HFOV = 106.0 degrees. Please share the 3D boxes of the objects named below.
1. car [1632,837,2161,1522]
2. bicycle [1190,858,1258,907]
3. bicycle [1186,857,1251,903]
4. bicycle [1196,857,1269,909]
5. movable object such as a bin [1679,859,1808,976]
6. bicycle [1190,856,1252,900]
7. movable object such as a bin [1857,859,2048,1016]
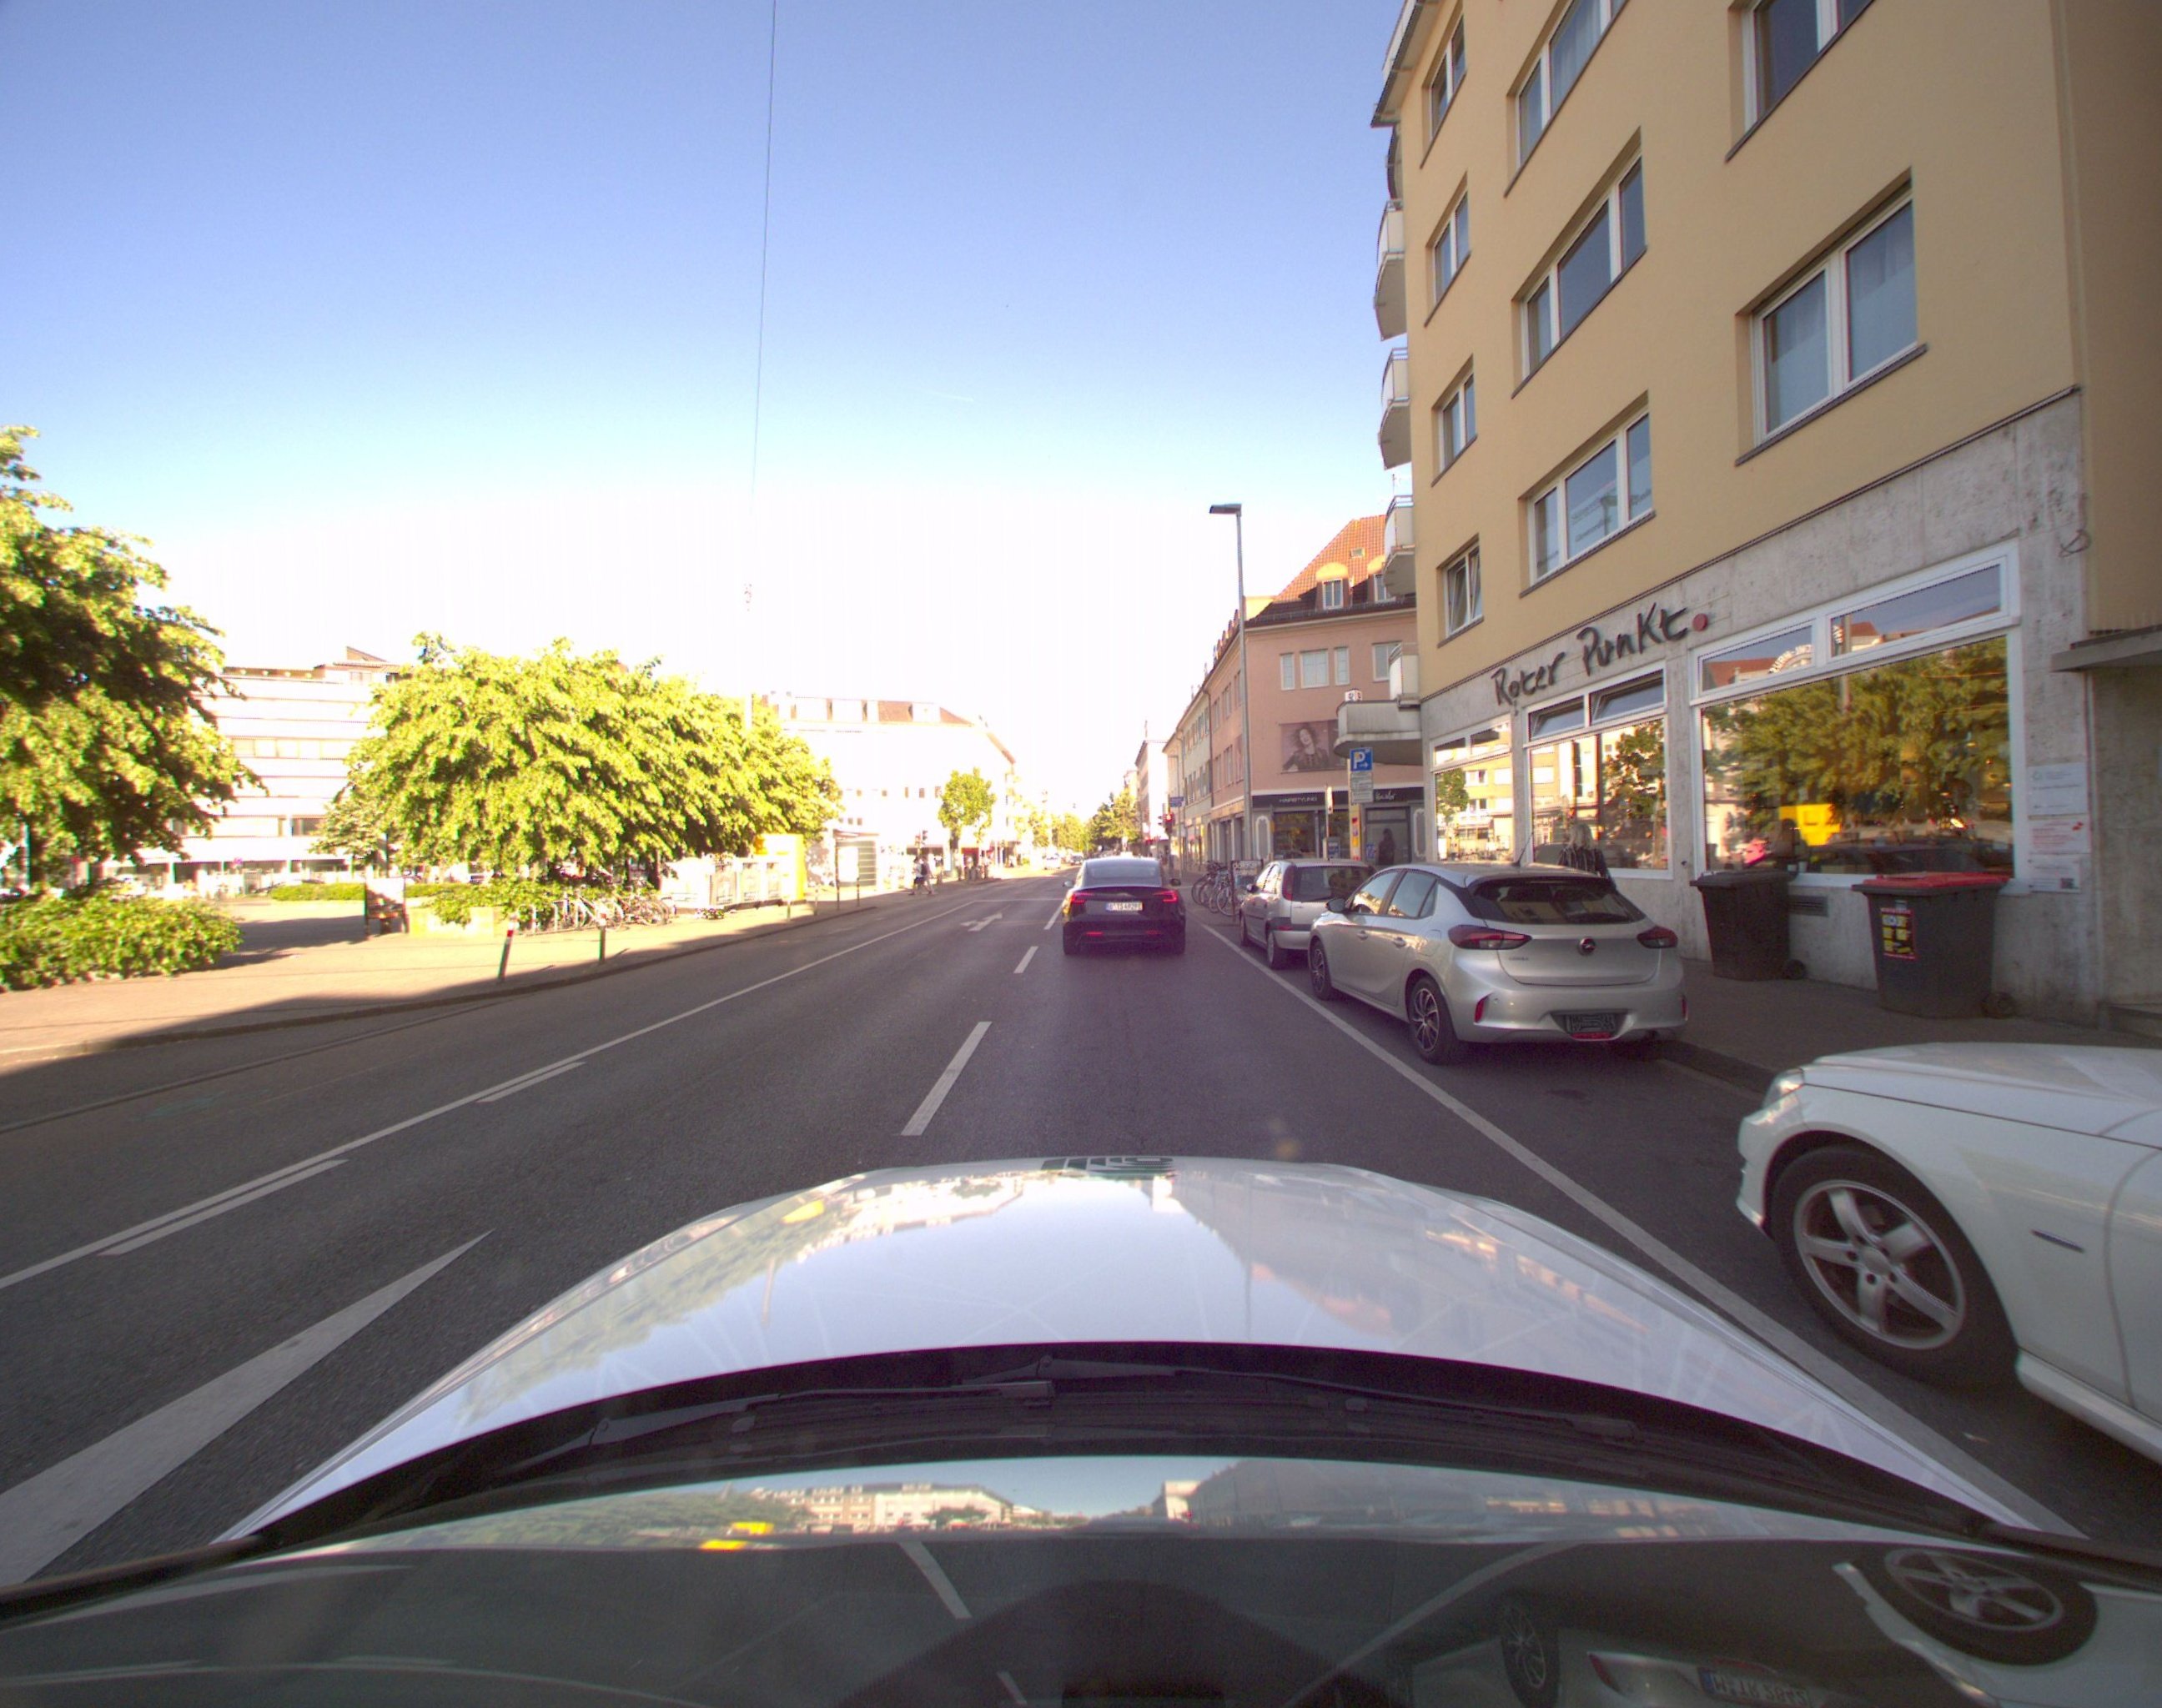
[{"bbox_3d":[3.128,0.675,1.150,1.732,1.447,4.465,-1,0,1],"label":"car"},{"bbox_3d":[3.656,0.721,20.828,1.622,1.160,0.433,-3,0,0],"label":"bicycle"},{"bbox_3d":[3.683,0.693,21.903,1.622,1.160,0.433,-3,0,0],"label":"bicycle"},{"bbox_3d":[3.611,0.689,19.520,1.622,1.160,0.433,-3,0,0],"label":"bicycle"},{"bbox_3d":[6.534,0.608,8.061,0.700,1.067,0.620,-4,0,1],"label":"movable object such as a bin"},{"bbox_3d":[3.958,0.674,23.076,1.621,1.160,0.433,-3,0,2],"label":"bicycle"},{"bbox_3d":[6.519,0.600,6.127,0.700,1.067,0.620,-4,0,1],"label":"movable object such as a bin"}]
